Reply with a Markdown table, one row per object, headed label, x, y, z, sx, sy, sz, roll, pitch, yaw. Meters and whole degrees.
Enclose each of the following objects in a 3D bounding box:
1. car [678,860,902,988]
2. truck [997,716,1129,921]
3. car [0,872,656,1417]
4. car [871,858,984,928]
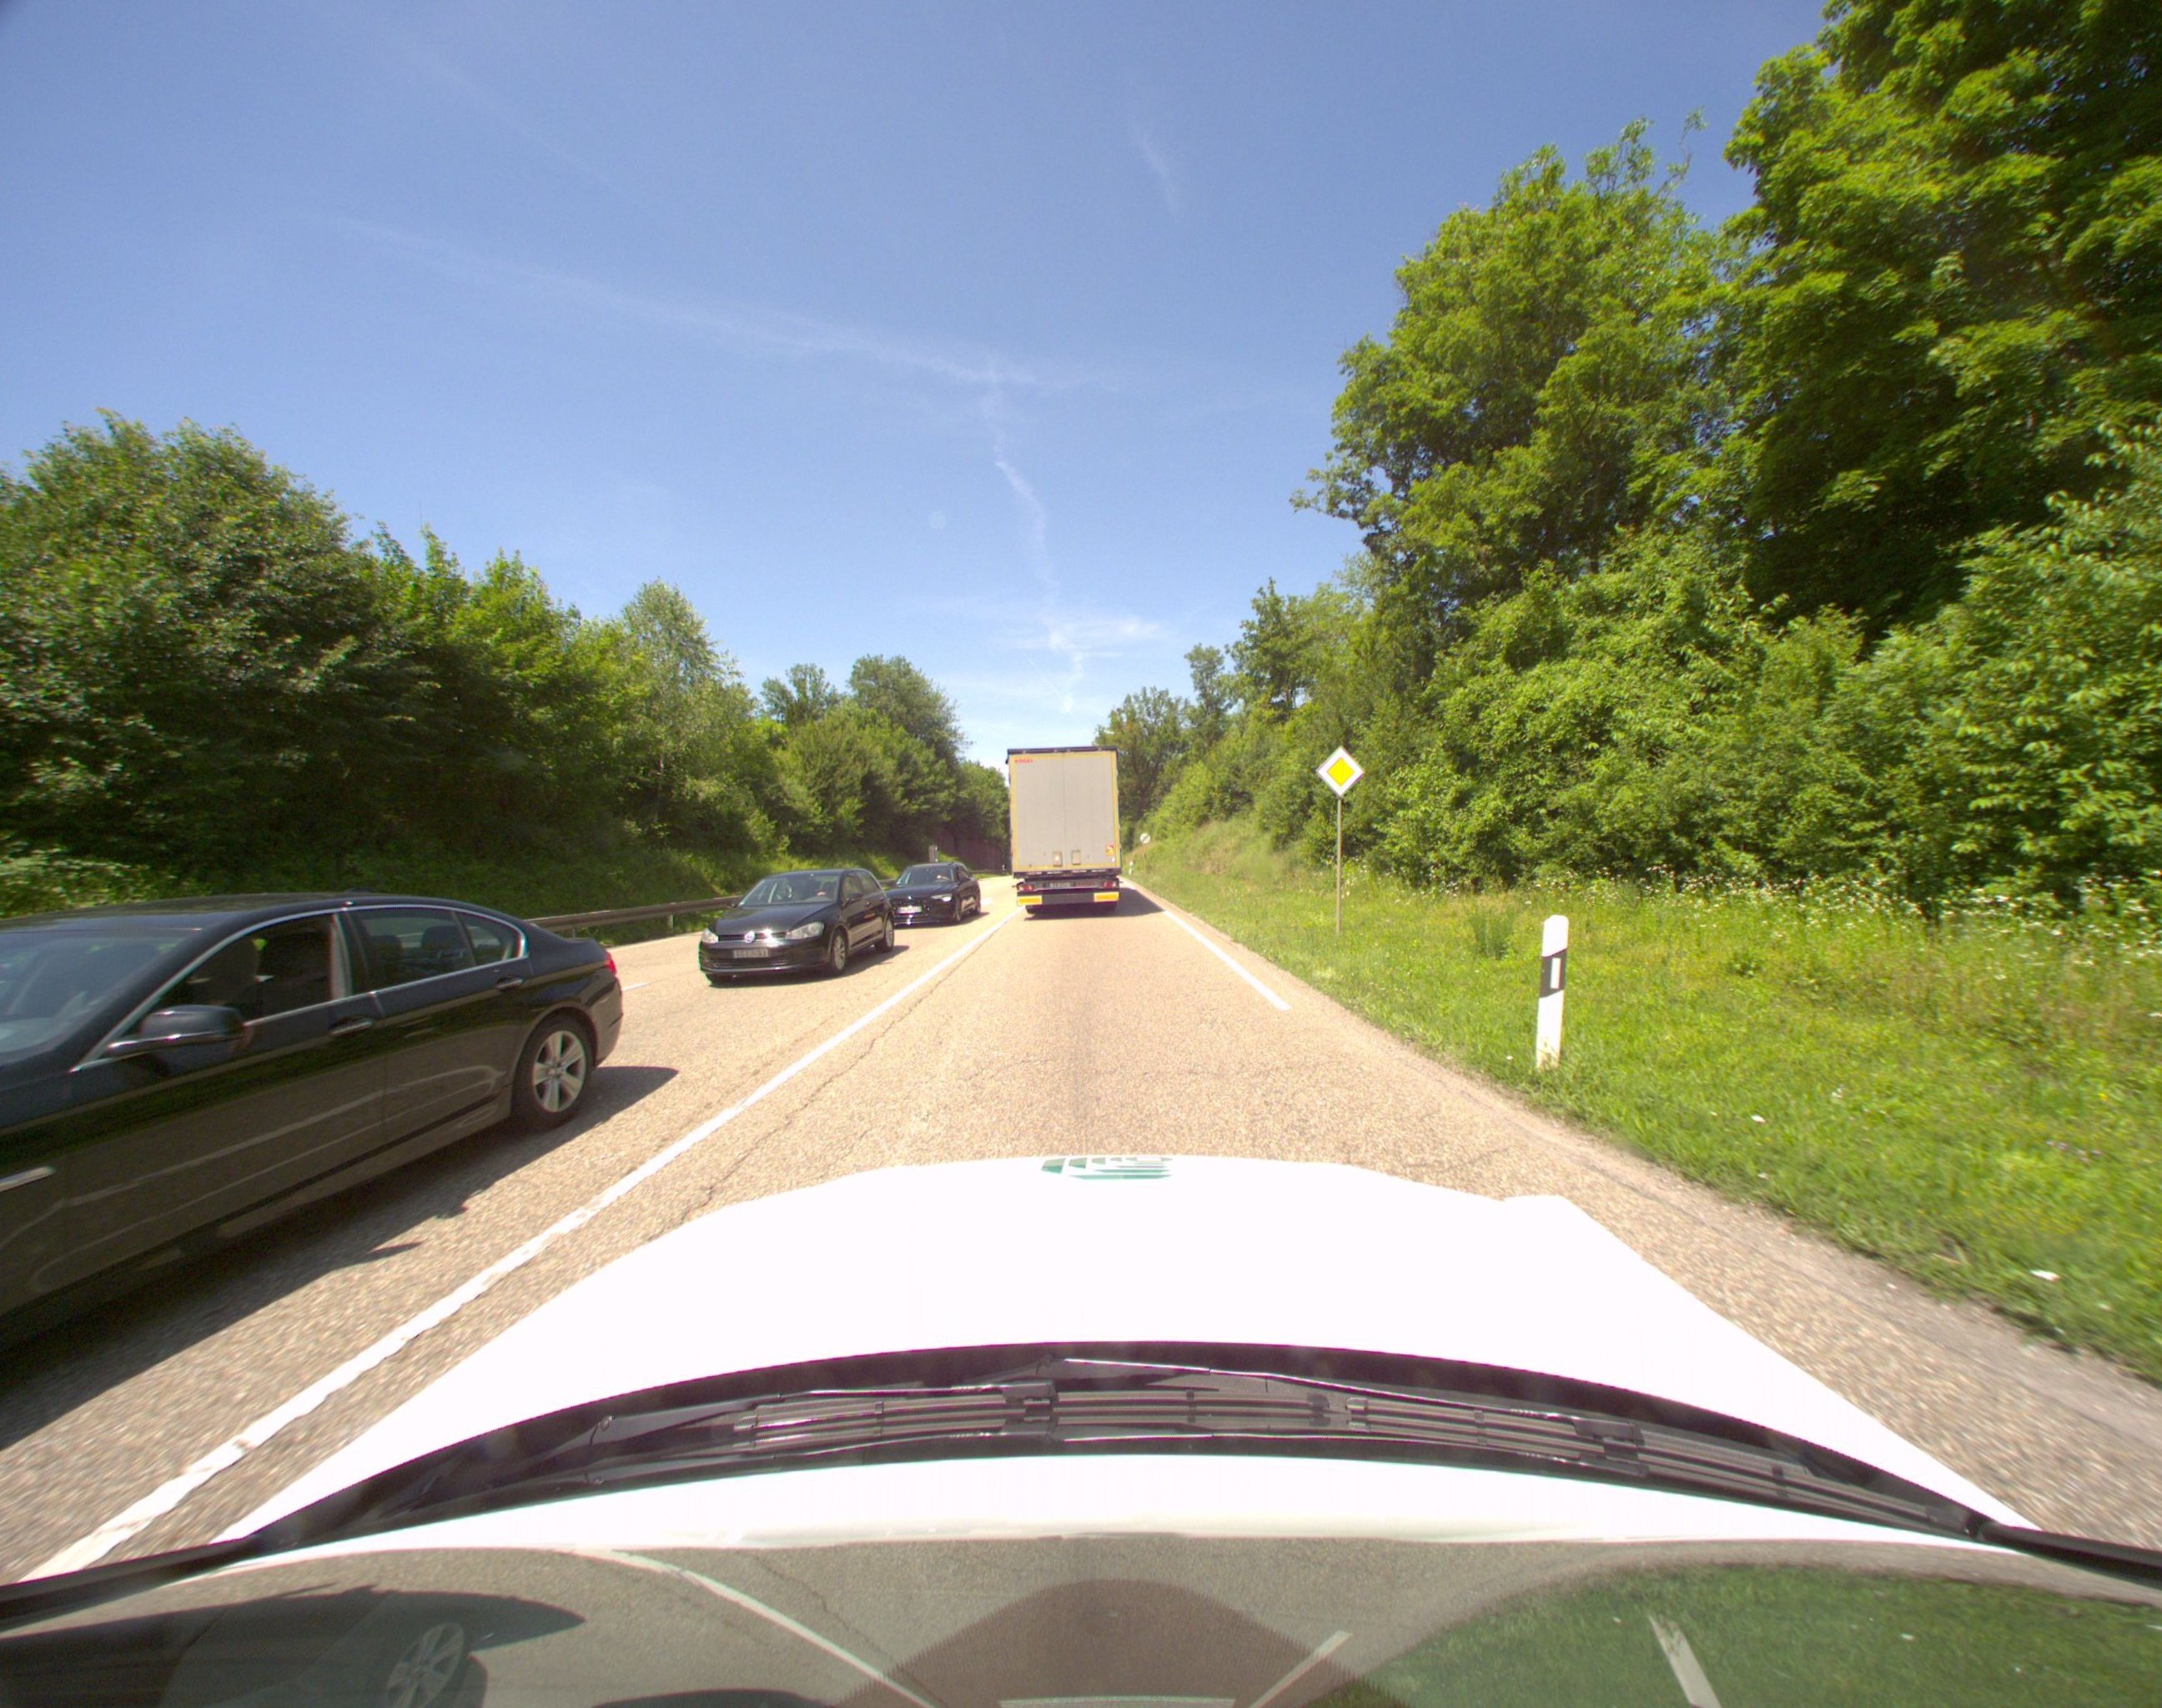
| label | x | y | z | sx | sy | sz | roll | pitch | yaw |
| --- | --- | --- | --- | --- | --- | --- | --- | --- | --- |
| car | -4.016 | 0.870 | 12.052 | 1.676 | 1.414 | 4.182 | -3 | 0 | 1 |
| truck | -0.419 | -0.826 | 22.087 | 2.814 | 4.603 | 6.663 | -3 | 0 | 0 |
| car | -3.967 | 0.901 | 3.499 | 1.776 | 1.447 | 4.640 | -2 | 0 | 0 |
| car | -3.667 | 0.881 | 20.272 | 1.797 | 1.453 | 4.388 | -2 | 0 | 2 |
